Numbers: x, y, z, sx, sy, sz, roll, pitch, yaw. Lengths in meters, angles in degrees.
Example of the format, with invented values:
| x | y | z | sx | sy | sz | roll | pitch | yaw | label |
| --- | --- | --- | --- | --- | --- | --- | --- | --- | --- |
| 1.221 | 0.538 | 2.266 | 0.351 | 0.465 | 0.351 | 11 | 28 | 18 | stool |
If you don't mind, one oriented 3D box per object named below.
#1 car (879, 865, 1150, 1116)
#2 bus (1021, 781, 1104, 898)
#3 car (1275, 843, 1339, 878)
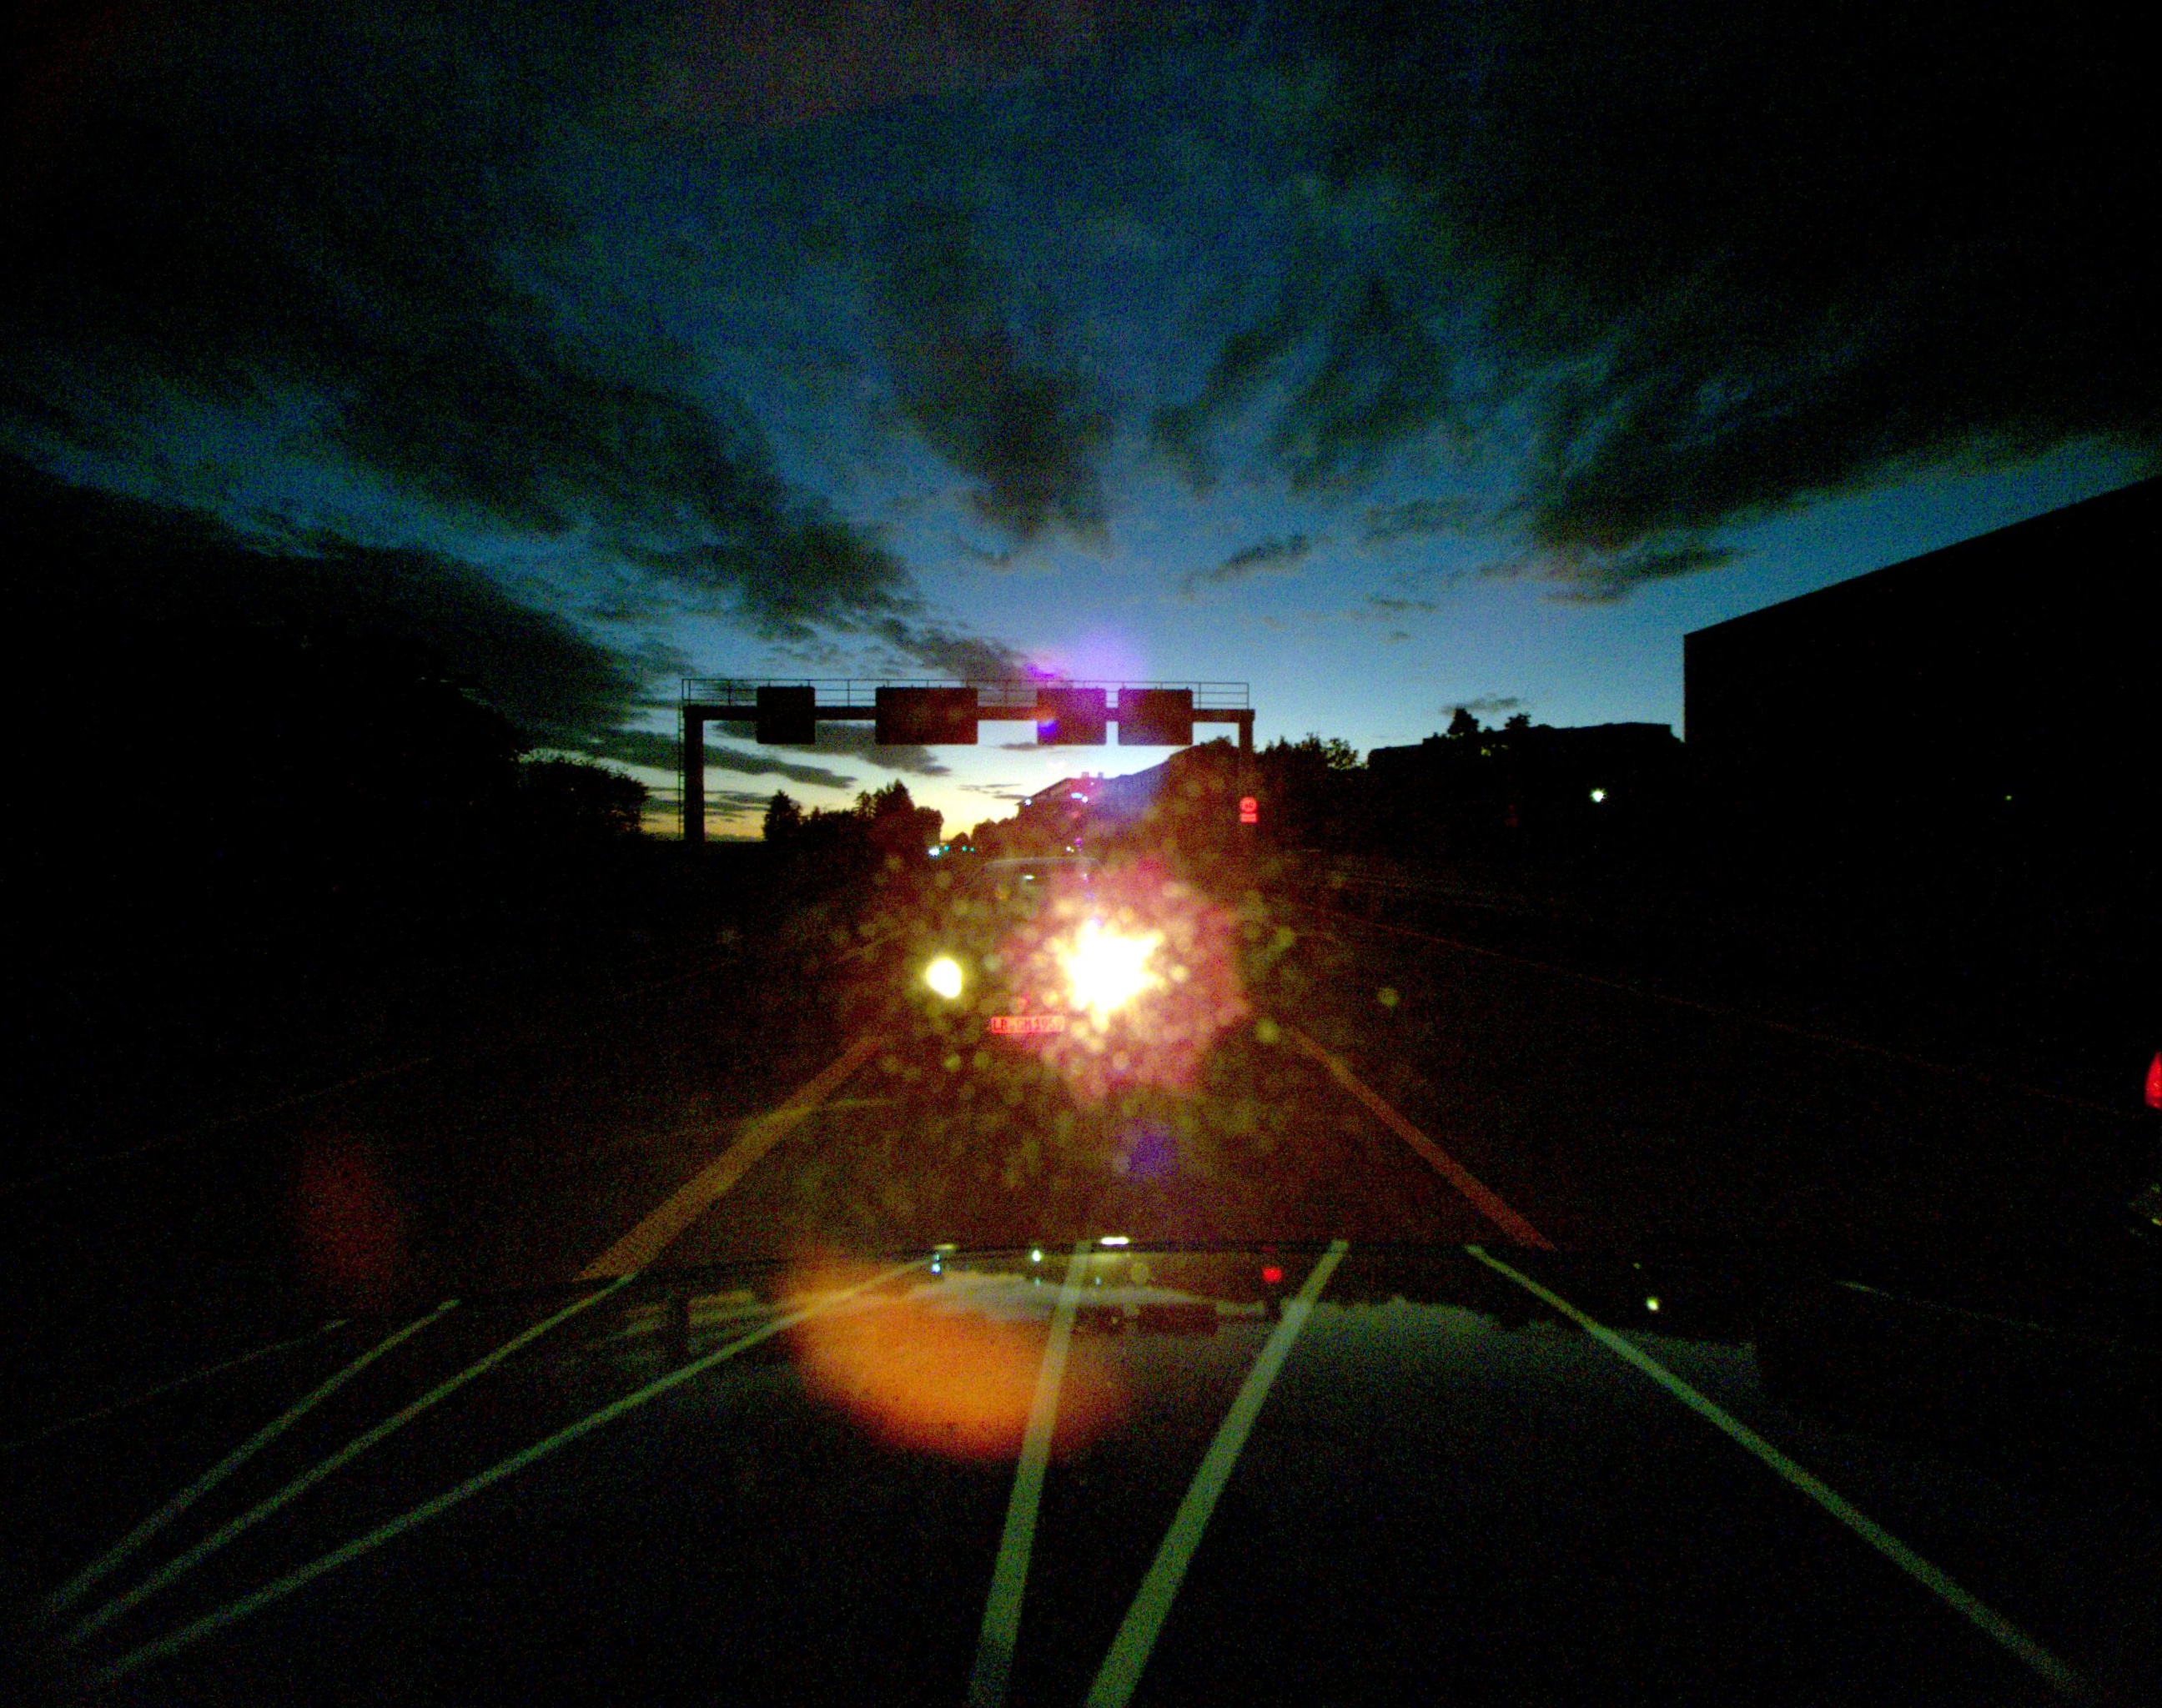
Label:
| x | y | z | sx | sy | sz | roll | pitch | yaw | label |
| --- | --- | --- | --- | --- | --- | --- | --- | --- | --- |
| -0.317 | 0.899 | 6.681 | 1.669 | 1.472 | 3.777 | -2 | 0 | 3 | car |
| -1.079 | -0.522 | 31.198 | 2.615 | 3.768 | 12.269 | -2 | 1 | -4 | bus |
| 9.766 | 0.259 | 33.144 | 1.761 | 1.435 | 4.111 | -1 | 0 | 3 | car |
